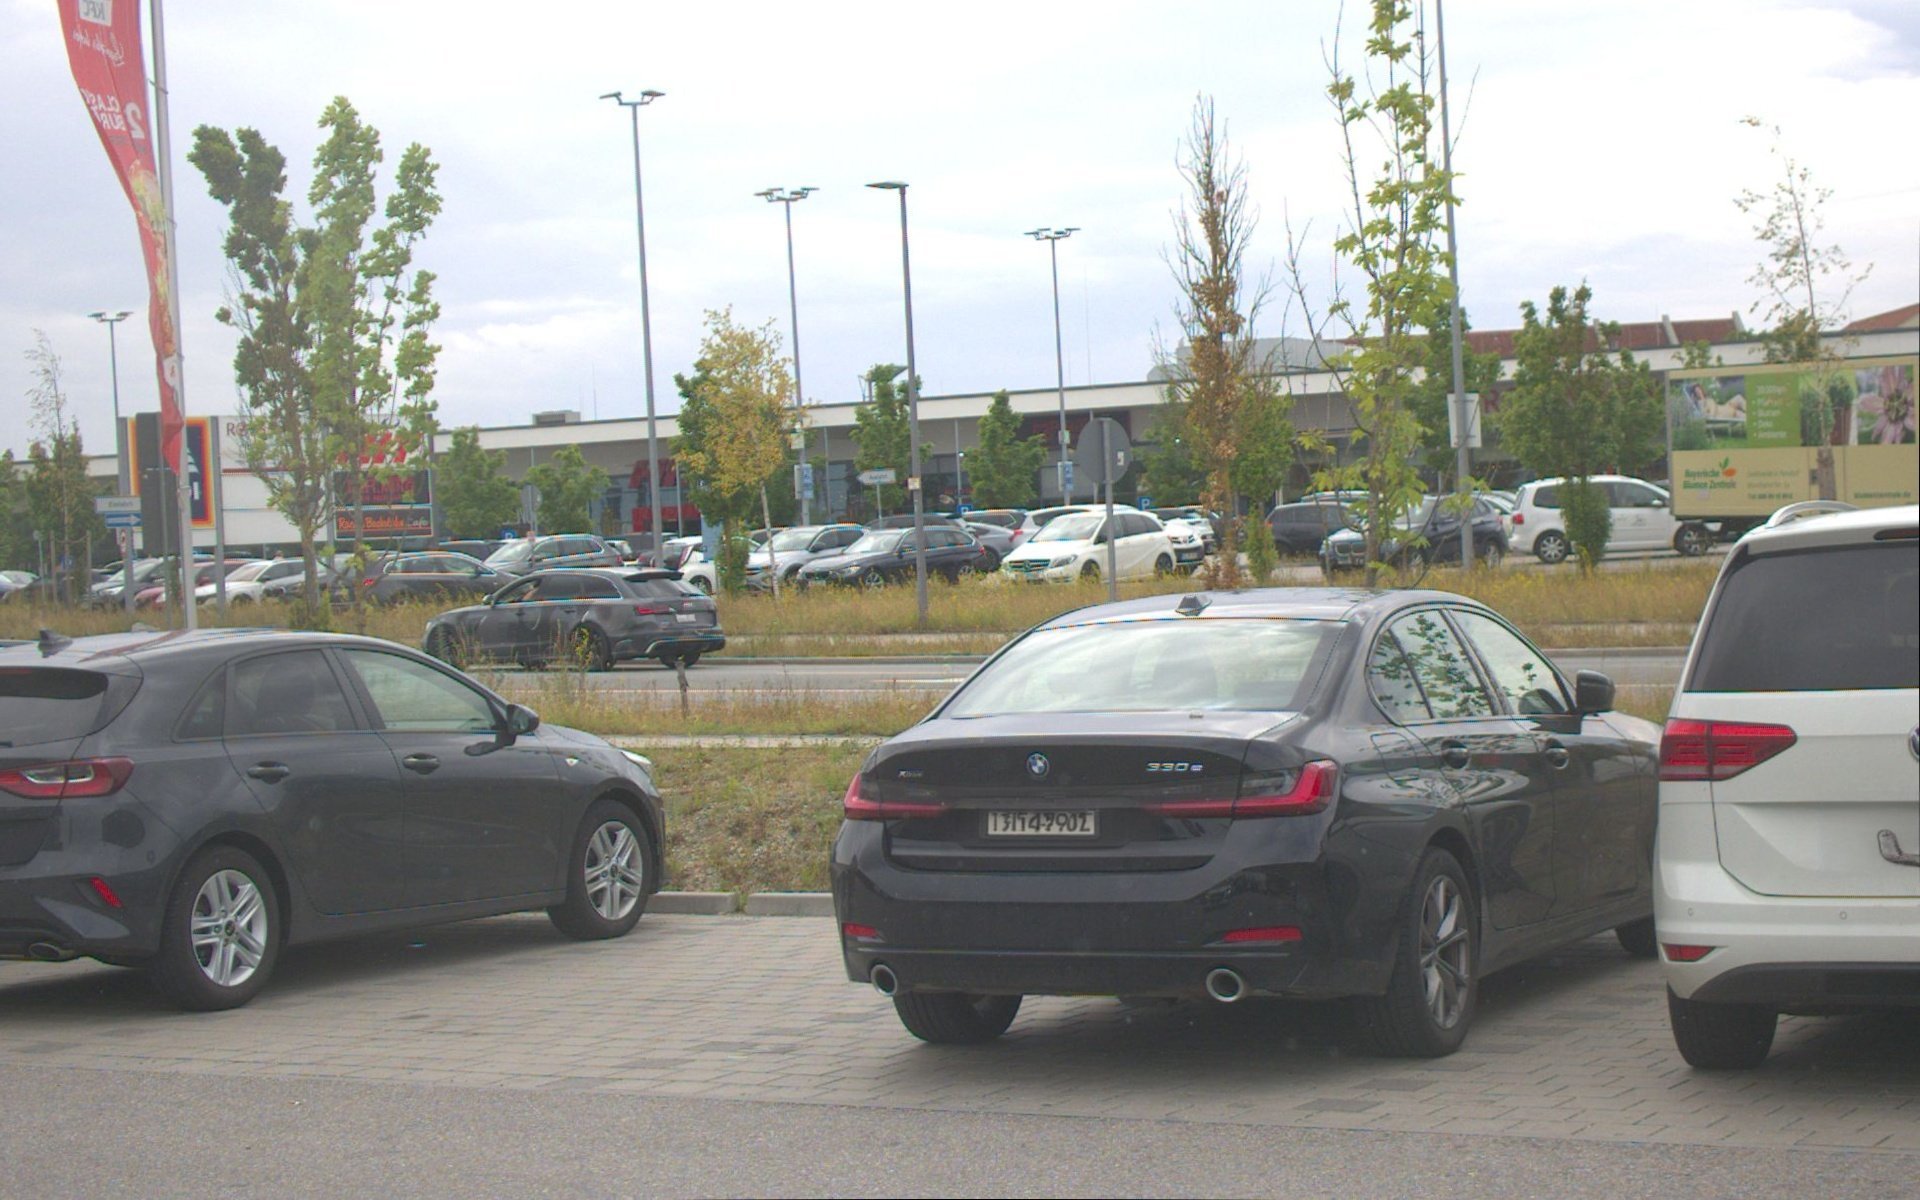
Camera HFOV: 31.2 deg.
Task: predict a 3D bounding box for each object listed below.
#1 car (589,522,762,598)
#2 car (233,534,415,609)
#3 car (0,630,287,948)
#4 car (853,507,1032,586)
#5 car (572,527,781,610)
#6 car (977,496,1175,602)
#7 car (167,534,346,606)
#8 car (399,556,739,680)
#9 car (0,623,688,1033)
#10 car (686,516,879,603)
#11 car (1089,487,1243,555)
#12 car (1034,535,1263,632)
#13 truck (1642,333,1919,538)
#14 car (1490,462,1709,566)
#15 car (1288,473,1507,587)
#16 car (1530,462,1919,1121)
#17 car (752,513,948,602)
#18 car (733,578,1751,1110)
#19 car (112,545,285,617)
[{"bbox_3d":[-7.732,-1.094,93.387,4.179,1.831,1.997,-2,3,28],"label":"car"},{"bbox_3d":[-15.465,-0.705,83.726,1.997,1.534,4.047,-2,3,35],"label":"car"},{"bbox_3d":[-5.460,0.919,16.192,1.908,1.451,4.735,-2,0,28],"label":"car"},{"bbox_3d":[-0.456,-1.402,90.475,4.179,1.831,1.997,-2,3,28],"label":"car"},{"bbox_3d":[-6.214,-0.696,75.609,4.149,1.534,1.999,-6,3,-43],"label":"car"},{"bbox_3d":[2.298,-1.013,66.910,1.997,1.765,4.315,-2,3,30],"label":"car"},{"bbox_3d":[-17.635,-0.765,86.298,1.863,1.496,4.065,-1,3,39],"label":"car"},{"bbox_3d":[-5.545,0.273,48.417,4.849,1.546,1.798,-1,3,39],"label":"car"},{"bbox_3d":[-3.024,0.848,14.503,1.885,1.407,4.065,-1,0,27],"label":"car"},{"bbox_3d":[-3.702,-0.867,72.200,1.770,1.534,4.047,-2,3,38],"label":"car"},{"bbox_3d":[6.300,-2.414,105.235,4.179,1.831,1.997,-2,3,28],"label":"car"},{"bbox_3d":[3.931,-0.342,71.949,4.314,1.765,1.918,-2,3,31],"label":"car"},{"bbox_3d":[15.300,-2.740,57.165,3.019,3.185,8.433,-5,3,-27],"label":"truck"},{"bbox_3d":[12.472,-1.687,66.959,3.989,1.765,1.999,-3,2,14],"label":"car"},{"bbox_3d":[7.924,-1.280,62.010,1.929,1.765,4.312,-2,3,37],"label":"car"},{"bbox_3d":[3.443,0.482,10.873,1.988,1.707,4.366,-2,0,27],"label":"car"},{"bbox_3d":[-2.215,-0.876,70.350,1.770,1.534,4.047,-2,3,38],"label":"car"},{"bbox_3d":[1.212,0.682,11.947,1.944,1.461,4.510,-1,0,27],"label":"car"},{"bbox_3d":[-19.515,-0.493,88.202,1.905,1.534,4.047,-2,3,35],"label":"car"}]
